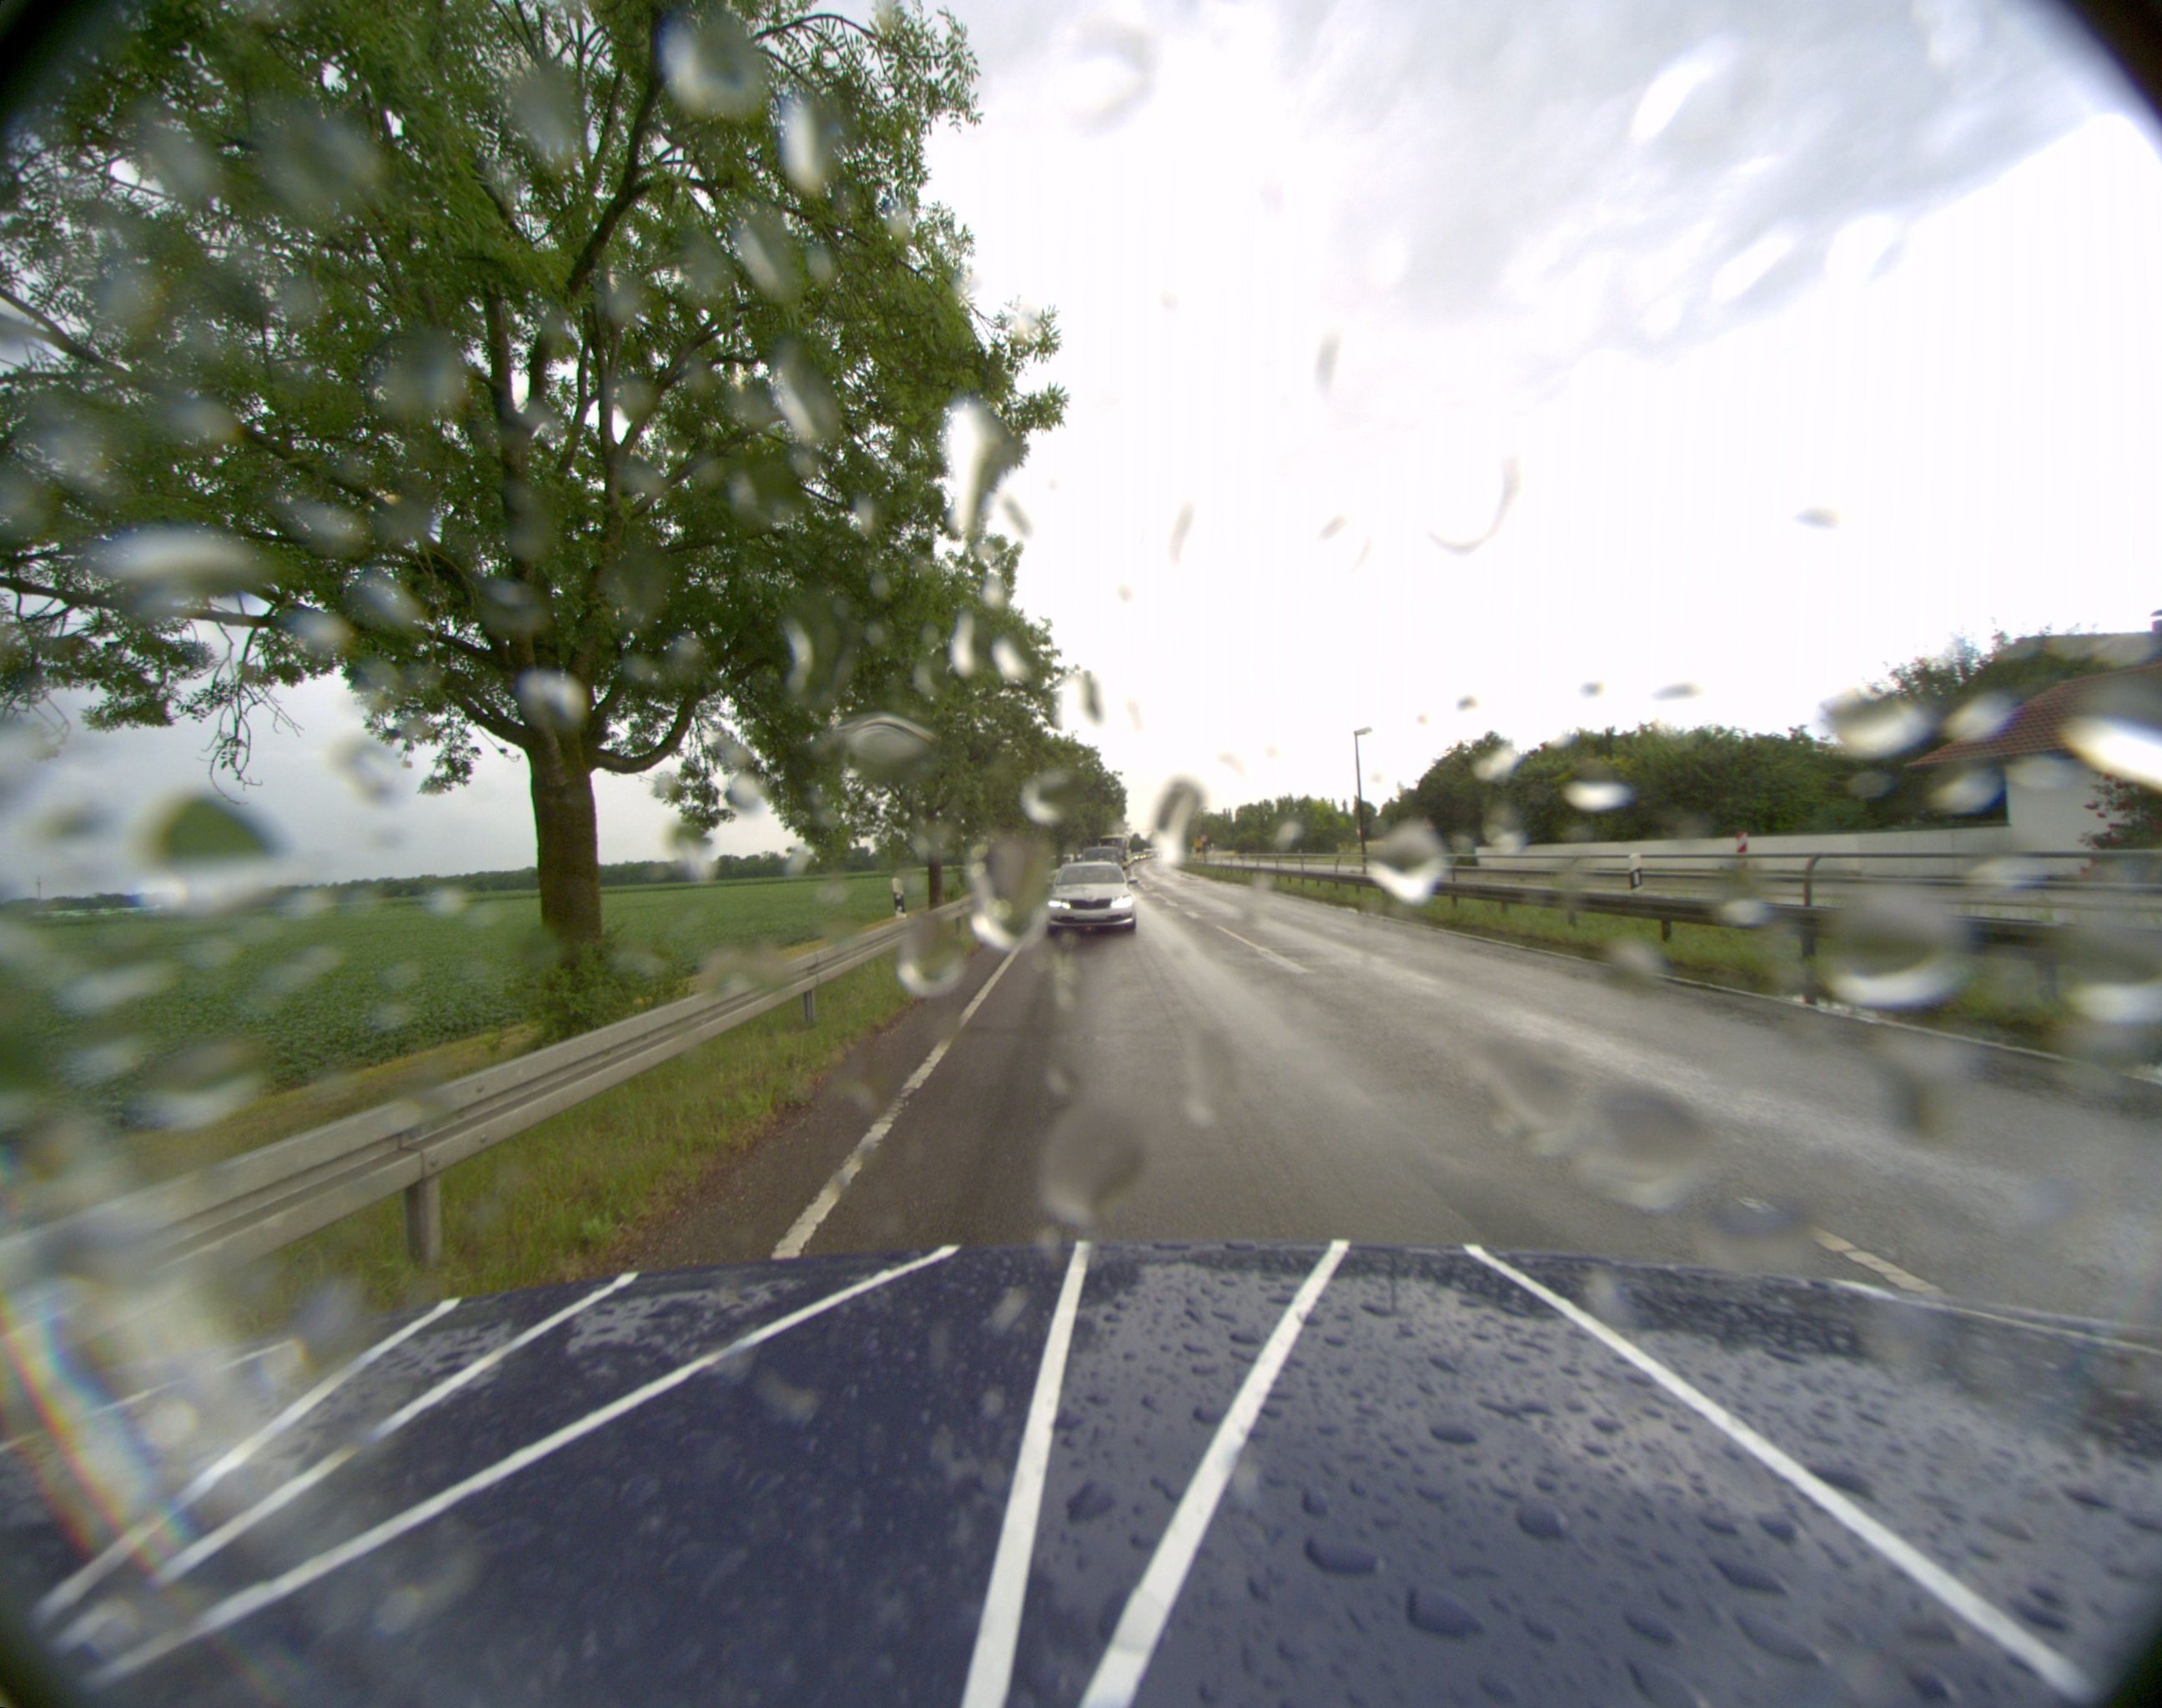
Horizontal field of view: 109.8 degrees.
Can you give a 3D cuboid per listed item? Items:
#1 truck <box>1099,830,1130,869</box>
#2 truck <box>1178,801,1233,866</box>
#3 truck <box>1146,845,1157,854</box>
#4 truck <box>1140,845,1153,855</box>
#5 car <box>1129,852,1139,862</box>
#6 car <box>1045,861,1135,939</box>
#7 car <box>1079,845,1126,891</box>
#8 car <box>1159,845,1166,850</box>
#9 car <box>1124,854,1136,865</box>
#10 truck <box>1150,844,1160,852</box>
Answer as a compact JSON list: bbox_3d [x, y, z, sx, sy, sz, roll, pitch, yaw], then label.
[{"bbox_3d":[3.390,-0.450,78.076,2.751,3.547,8.386,-3,0,1],"label":"truck"},{"bbox_3d":[10.553,-1.651,65.245,3.256,5.004,7.783,-4,0,1],"label":"truck"},{"bbox_3d":[19.694,-1.198,212.507,2.800,2.461,7.169,-3,0,3],"label":"truck"},{"bbox_3d":[16.759,-1.075,194.821,2.800,2.461,7.169,-3,0,3],"label":"truck"},{"bbox_3d":[9.610,0.551,137.505,1.690,1.572,3.784,-3,0,3],"label":"car"},{"bbox_3d":[0.155,0.903,16.667,1.705,1.438,3.999,-1,0,-1],"label":"car"},{"bbox_3d":[0.899,0.586,34.021,1.903,1.884,3.999,-1,0,-1],"label":"car"},{"bbox_3d":[27.400,-2.138,255.678,1.812,1.723,4.026,-4,0,0],"label":"car"},{"bbox_3d":[7.688,0.798,120.204,1.690,1.572,3.784,-3,0,3],"label":"car"},{"bbox_3d":[23.558,-1.866,242.215,2.800,2.461,7.169,-3,0,3],"label":"truck"}]
